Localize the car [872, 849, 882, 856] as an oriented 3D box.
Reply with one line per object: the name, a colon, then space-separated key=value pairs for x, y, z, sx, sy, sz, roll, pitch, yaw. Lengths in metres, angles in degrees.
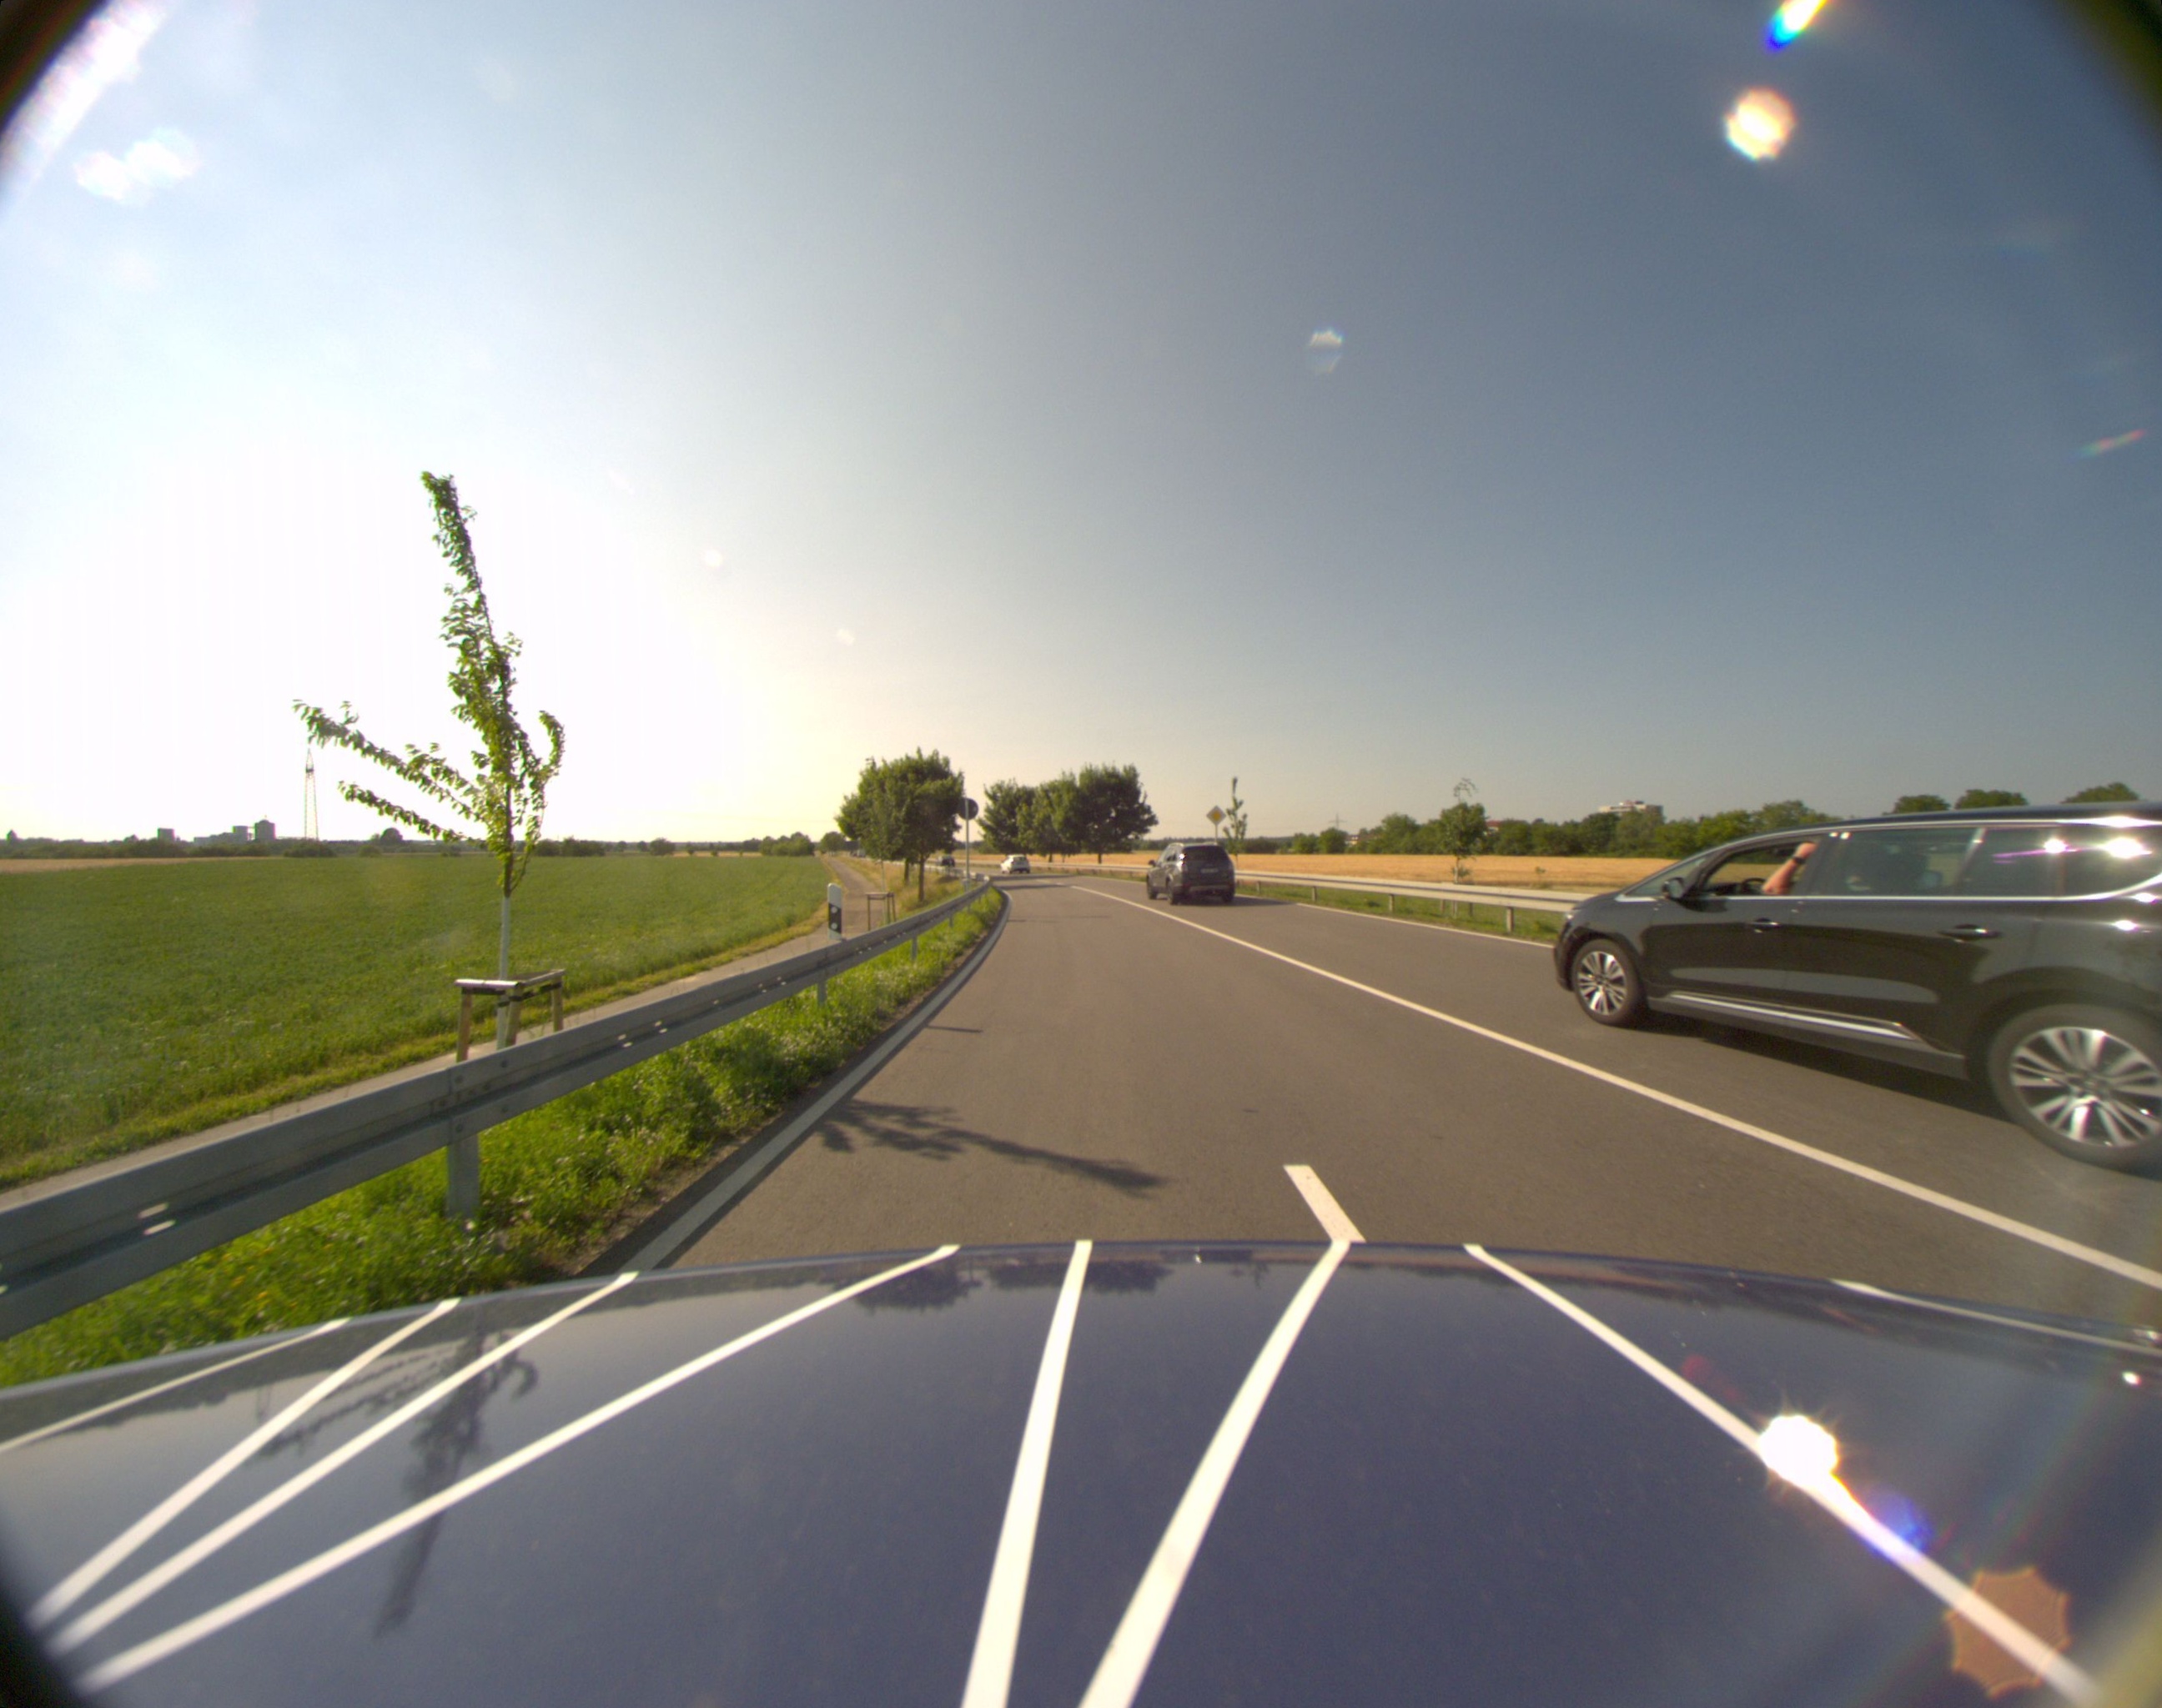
car: x=-50.380 y=-0.421 z=187.841 sx=2.017 sy=1.576 sz=4.818 roll=-1 pitch=2 yaw=-20

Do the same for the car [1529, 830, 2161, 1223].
car: x=5.320 y=0.684 z=4.668 sx=1.999 sy=1.583 sz=4.861 roll=-2 pitch=1 yaw=-4

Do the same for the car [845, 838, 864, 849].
car: x=-41.448 y=-1.937 z=139.193 sx=2.820 sy=2.002 sz=6.091 roll=-3 pitch=2 yaw=-21

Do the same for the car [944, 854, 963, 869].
car: x=-15.404 y=0.896 z=91.760 sx=1.844 sy=1.535 sz=4.238 roll=-3 pitch=3 yaw=-14

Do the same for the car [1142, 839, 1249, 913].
car: x=3.288 y=0.541 z=22.928 sx=1.888 sy=1.788 sz=5.086 roll=-3 pitch=3 yaw=-7

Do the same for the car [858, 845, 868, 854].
car: x=-66.025 y=-1.417 z=229.965 sx=2.409 sy=2.561 sz=5.364 roll=-1 pitch=2 yaw=-20

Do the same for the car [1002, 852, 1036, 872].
car: x=-4.925 y=0.616 z=59.938 sx=1.860 sy=1.440 sz=4.147 roll=-3 pitch=1 yaw=-15
